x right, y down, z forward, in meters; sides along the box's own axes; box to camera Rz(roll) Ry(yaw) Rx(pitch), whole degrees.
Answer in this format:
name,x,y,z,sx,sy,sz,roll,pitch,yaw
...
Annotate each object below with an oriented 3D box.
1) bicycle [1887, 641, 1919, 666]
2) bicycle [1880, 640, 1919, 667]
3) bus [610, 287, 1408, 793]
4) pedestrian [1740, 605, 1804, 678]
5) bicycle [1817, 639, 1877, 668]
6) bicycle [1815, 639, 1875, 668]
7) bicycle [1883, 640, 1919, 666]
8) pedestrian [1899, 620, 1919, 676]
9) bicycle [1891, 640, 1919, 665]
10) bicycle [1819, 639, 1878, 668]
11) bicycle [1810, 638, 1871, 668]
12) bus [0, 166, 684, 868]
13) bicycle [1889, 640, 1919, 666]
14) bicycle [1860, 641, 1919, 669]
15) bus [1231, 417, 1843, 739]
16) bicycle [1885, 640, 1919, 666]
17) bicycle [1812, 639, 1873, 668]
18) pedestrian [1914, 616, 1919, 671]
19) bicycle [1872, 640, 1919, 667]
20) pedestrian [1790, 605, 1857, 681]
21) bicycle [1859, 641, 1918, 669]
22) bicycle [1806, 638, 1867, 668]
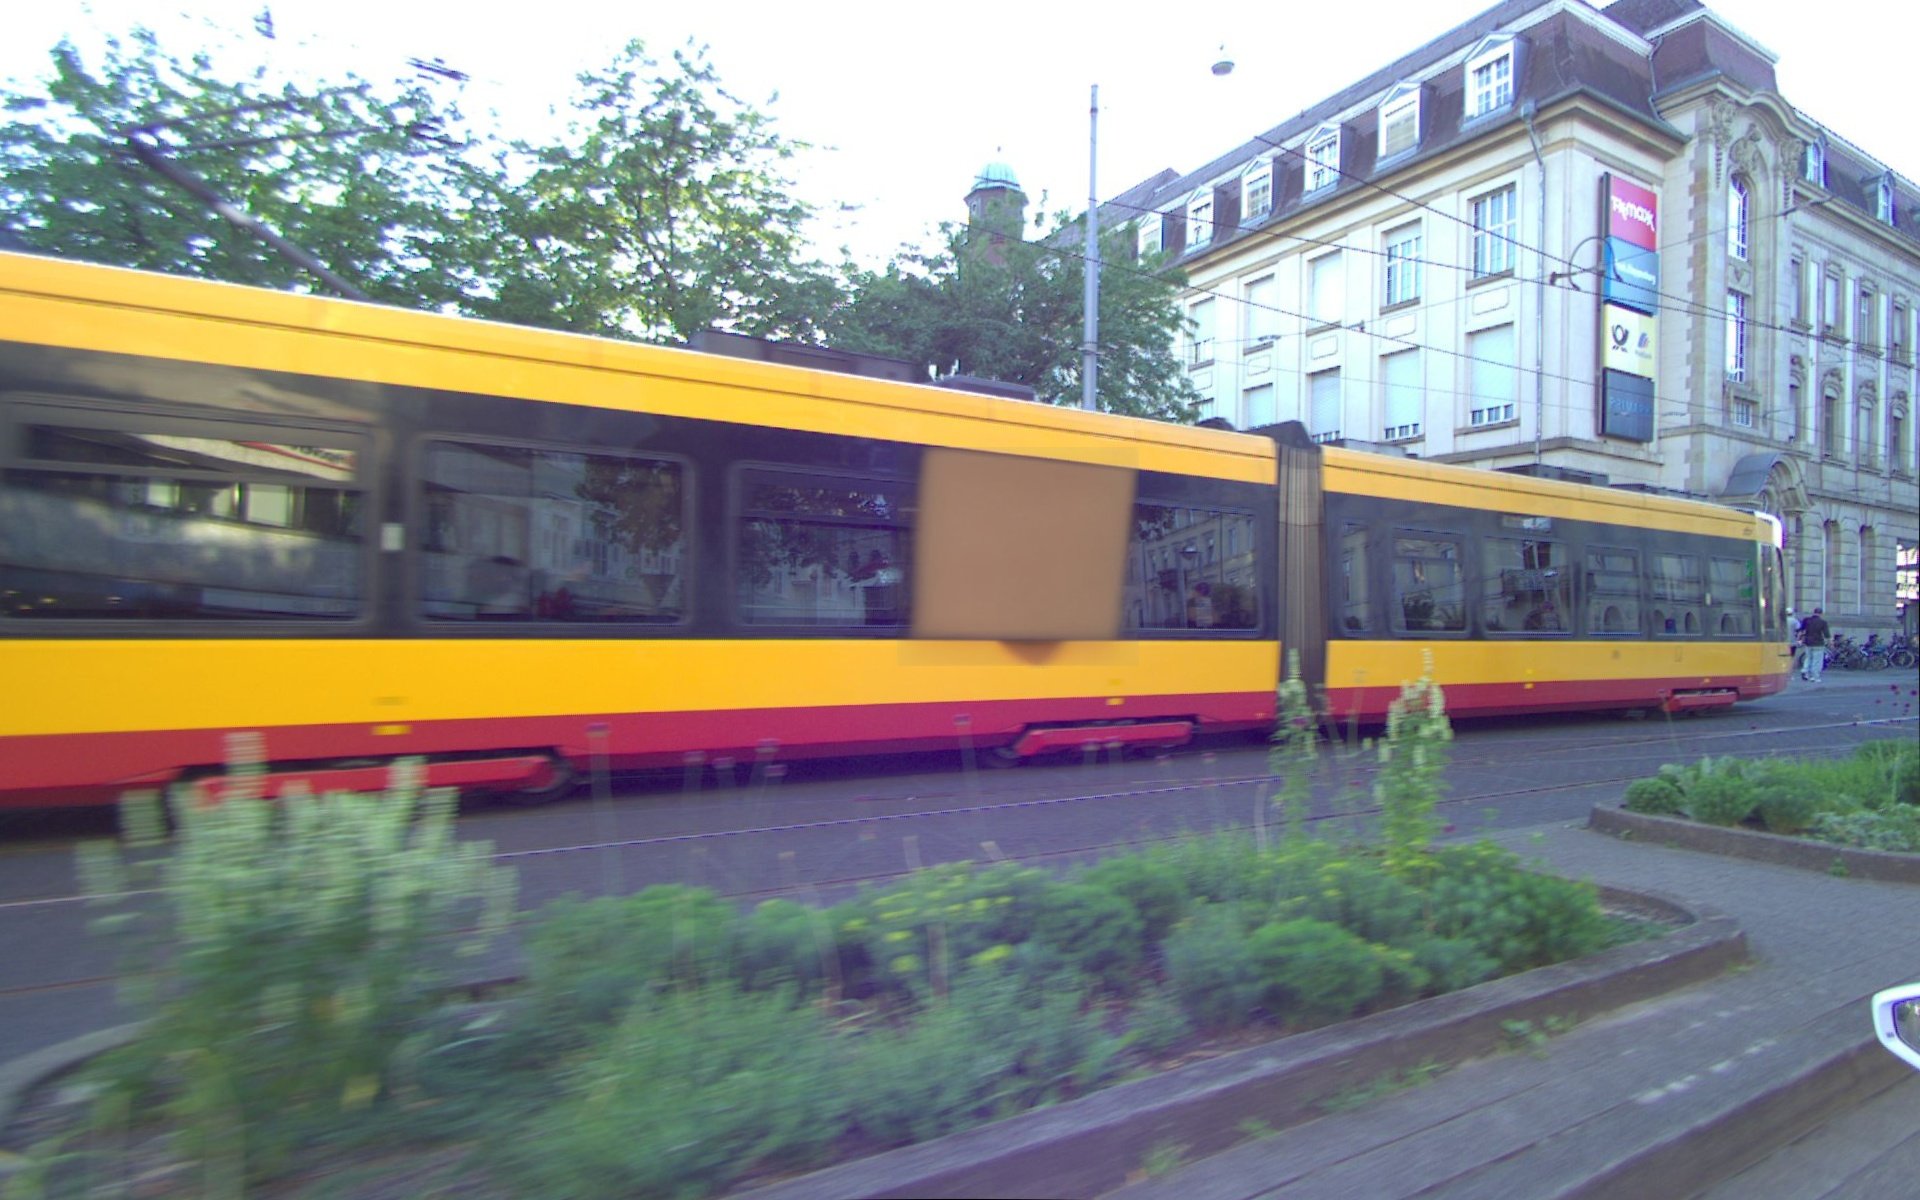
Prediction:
name,x,y,z,sx,sy,sz,roll,pitch,yaw
bicycle,37.306,2.097,39.259,0.356,0.961,1.568,4,-2,-41
bicycle,36.277,2.055,38.404,0.356,0.961,1.569,4,-2,-41
bus,0.860,-0.337,10.579,8.191,3.673,2.809,1,-1,-30
pedestrian,20.995,1.072,25.985,0.893,1.809,0.961,3,-2,-24
bicycle,31.612,1.903,35.810,0.356,0.961,1.568,4,-2,-41
bicycle,31.302,1.891,35.538,0.356,0.961,1.568,4,-2,-41
bicycle,36.616,2.060,38.680,0.356,0.961,1.568,4,-2,-41
pedestrian,26.889,1.355,27.946,0.846,1.533,0.760,2,-2,14
bicycle,38.000,2.103,39.829,0.356,0.961,1.568,4,-2,-41
bicycle,31.910,1.922,36.093,0.356,0.961,1.568,4,-2,-41
bicycle,30.657,1.845,34.981,0.356,0.961,1.568,3,-2,-41
bus,-9.947,-0.531,4.064,16.871,3.700,2.809,1,-1,-30
bicycle,37.663,2.103,39.534,0.356,0.961,1.568,4,-2,-41
bicycle,34.472,2.023,37.263,0.356,0.961,1.568,3,-1,-41
bus,9.492,-0.117,15.601,11.683,3.660,2.809,1,-1,-30
bicycle,36.956,2.081,38.960,0.356,0.961,1.569,4,-2,-40
bicycle,30.960,1.873,35.242,0.356,0.961,1.568,4,-2,-41
pedestrian,31.298,1.419,32.097,1.118,1.732,0.868,3,-2,-29
bicycle,35.824,2.036,38.256,0.356,0.961,1.568,4,-2,-41
pedestrian,21.389,1.060,24.895,0.893,1.834,0.961,3,-2,-24
bicycle,34.151,2.008,36.956,0.356,0.961,1.568,4,-2,-41
bicycle,30.227,1.818,34.656,0.356,0.961,1.568,2,-1,-41
